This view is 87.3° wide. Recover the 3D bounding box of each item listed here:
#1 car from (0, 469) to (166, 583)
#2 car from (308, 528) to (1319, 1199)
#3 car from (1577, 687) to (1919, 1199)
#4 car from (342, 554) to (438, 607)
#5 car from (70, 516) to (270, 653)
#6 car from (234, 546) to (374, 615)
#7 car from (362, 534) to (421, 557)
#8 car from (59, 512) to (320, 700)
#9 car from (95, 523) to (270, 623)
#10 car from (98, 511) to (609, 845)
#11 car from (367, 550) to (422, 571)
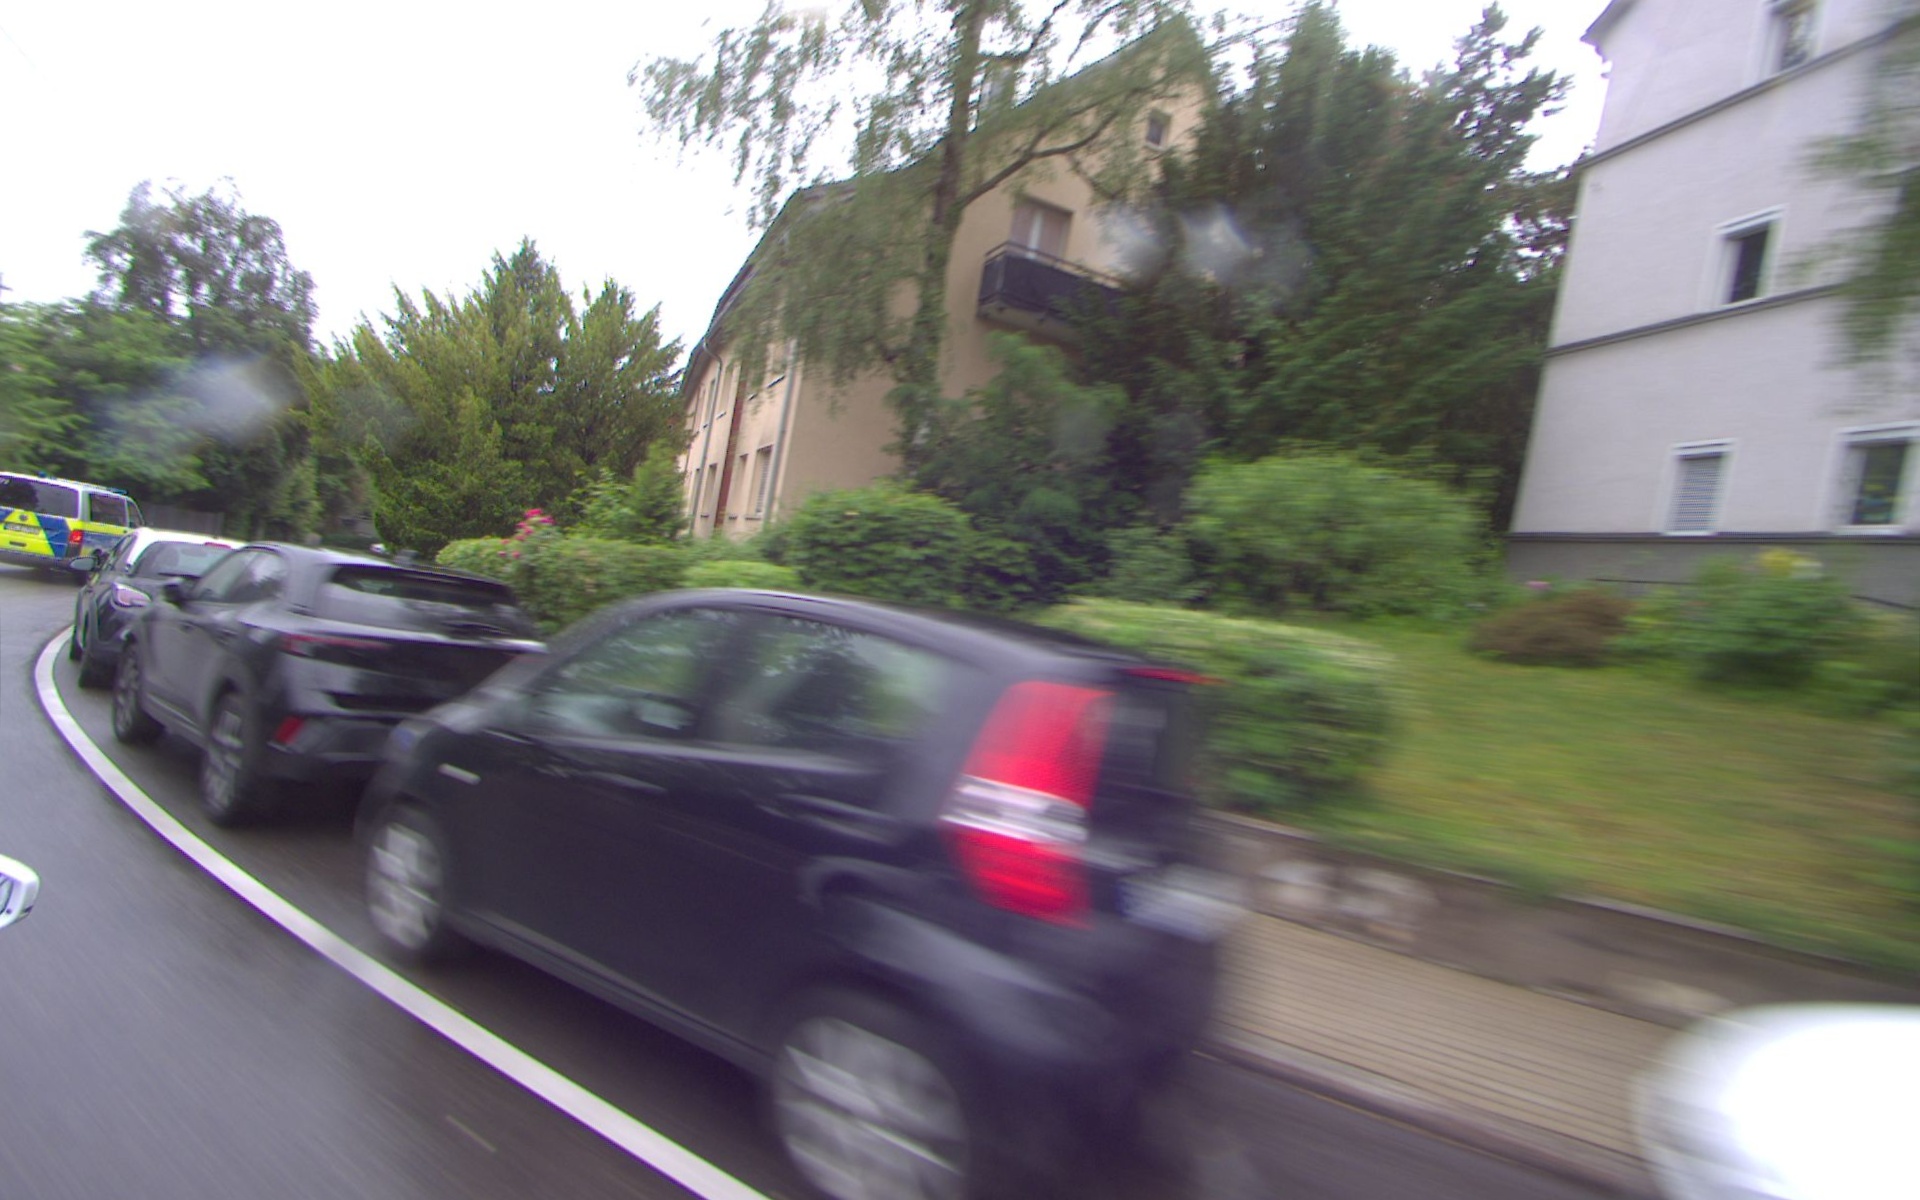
[{"bbox_3d":[-18.583,-1.460,20.962,1.976,1.914,4.545,9,-3,-25],"label":"car"},{"bbox_3d":[-0.754,0.686,3.813,3.548,1.524,1.619,7,1,36],"label":"car"},{"bbox_3d":[3.249,1.161,1.273,3.961,1.483,1.729,7,1,28],"label":"car"},{"bbox_3d":[-19.975,-0.671,35.445,1.787,1.471,4.241,10,-2,-16],"label":"car"},{"bbox_3d":[-10.968,-0.289,14.054,1.799,1.452,4.483,8,-1,-38],"label":"car"},{"bbox_3d":[-17.195,-0.510,26.618,1.758,1.452,4.553,7,-1,-17],"label":"car"},{"bbox_3d":[-53.326,-5.158,94.465,4.370,1.873,1.973,-6,12,-45],"label":"car"},{"bbox_3d":[-8.060,-0.005,10.396,1.676,1.490,3.692,6,1,-44],"label":"car"},{"bbox_3d":[-13.684,-0.509,17.978,1.794,1.364,4.583,8,-1,-31],"label":"car"},{"bbox_3d":[-4.235,0.317,6.736,4.011,1.454,1.712,7,1,41],"label":"car"},{"bbox_3d":[-50.079,-3.483,89.077,4.116,1.384,1.786,7,1,16],"label":"car"}]
